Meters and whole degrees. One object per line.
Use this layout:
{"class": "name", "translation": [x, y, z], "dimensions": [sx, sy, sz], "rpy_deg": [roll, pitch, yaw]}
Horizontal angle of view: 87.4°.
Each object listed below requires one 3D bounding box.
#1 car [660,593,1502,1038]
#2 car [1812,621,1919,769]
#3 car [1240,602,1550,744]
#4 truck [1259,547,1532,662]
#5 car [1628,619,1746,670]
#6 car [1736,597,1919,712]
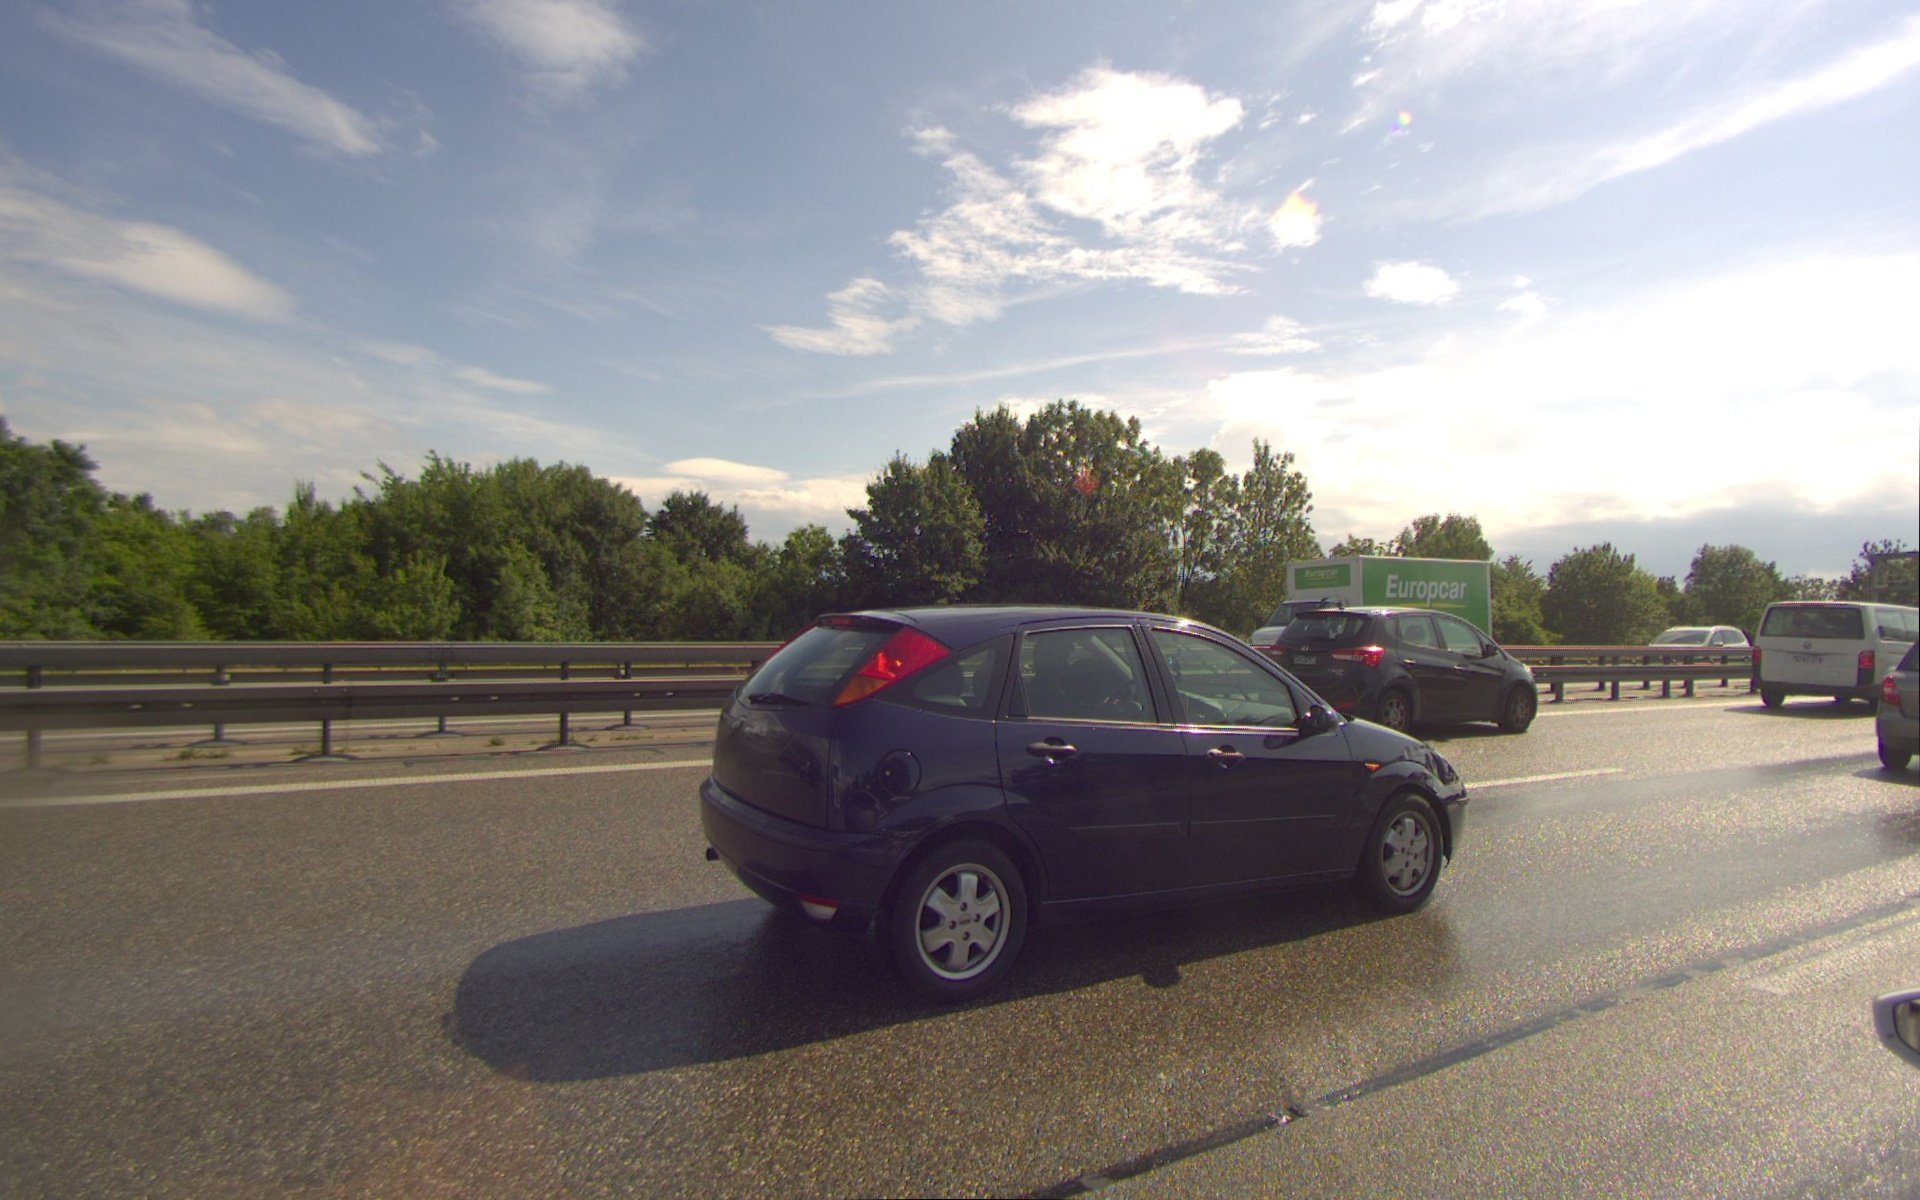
{"class": "car", "translation": [0.703, 0.749, 5.056], "dimensions": [3.953, 1.462, 1.750], "rpy_deg": [1, 0, -30]}
{"class": "car", "translation": [11.438, 1.020, 11.052], "dimensions": [3.781, 1.477, 1.978], "rpy_deg": [1, 0, -30]}
{"class": "car", "translation": [5.726, 0.874, 13.144], "dimensions": [3.870, 1.599, 1.774], "rpy_deg": [1, 0, -30]}
{"class": "truck", "translation": [13.082, 0.219, 29.873], "dimensions": [8.621, 3.026, 2.901], "rpy_deg": [2, 0, -31]}
{"class": "car", "translation": [23.210, 1.396, 32.042], "dimensions": [3.956, 1.506, 1.688], "rpy_deg": [2, 0, -32]}
{"class": "car", "translation": [17.074, 0.990, 19.244], "dimensions": [4.959, 1.959, 1.838], "rpy_deg": [1, 0, -31]}
